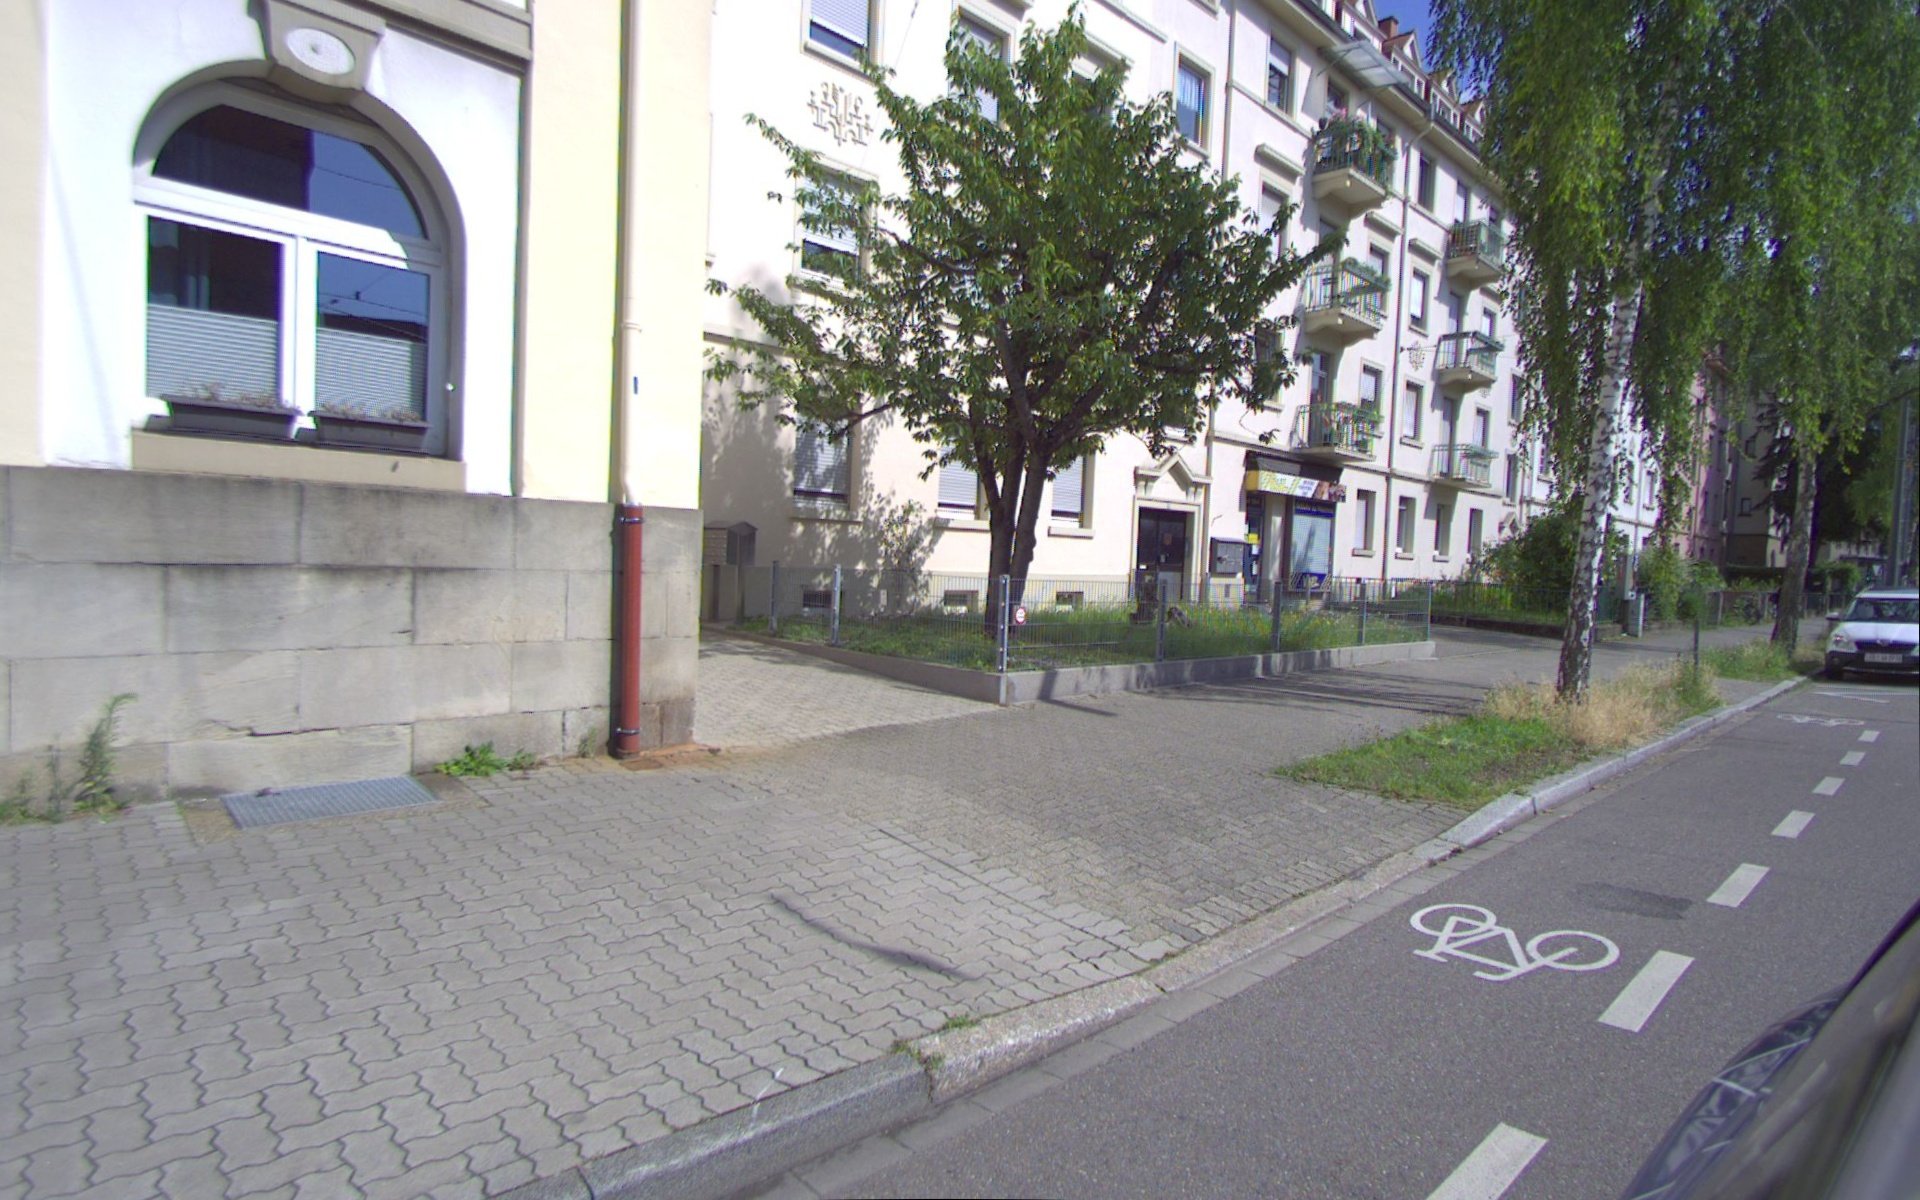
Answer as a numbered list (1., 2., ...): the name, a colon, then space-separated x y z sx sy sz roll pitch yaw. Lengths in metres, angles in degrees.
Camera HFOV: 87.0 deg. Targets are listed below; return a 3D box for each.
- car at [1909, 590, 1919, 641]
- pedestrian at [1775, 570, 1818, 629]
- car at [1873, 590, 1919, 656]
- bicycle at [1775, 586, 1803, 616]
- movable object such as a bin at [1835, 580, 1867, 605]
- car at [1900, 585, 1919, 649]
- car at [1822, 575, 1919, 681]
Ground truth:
1. car: 29.386 0.431 30.016 3.780 1.471 1.590 0 0 -44
2. pedestrian: 24.859 -0.020 30.087 0.678 1.703 0.732 1 5 -40
3. car: 22.563 0.499 23.579 3.733 1.434 1.674 0 1 -44
4. bicycle: 31.889 0.045 38.930 2.145 1.090 0.472 0 4 -42
5. movable object such as a bin: 58.570 -0.481 66.507 1.966 1.510 1.304 0 4 -43
6. car: 25.745 0.435 26.514 1.494 1.599 3.698 2 1 45
7. car: 16.357 0.426 17.414 3.930 1.650 1.724 0 1 -41
